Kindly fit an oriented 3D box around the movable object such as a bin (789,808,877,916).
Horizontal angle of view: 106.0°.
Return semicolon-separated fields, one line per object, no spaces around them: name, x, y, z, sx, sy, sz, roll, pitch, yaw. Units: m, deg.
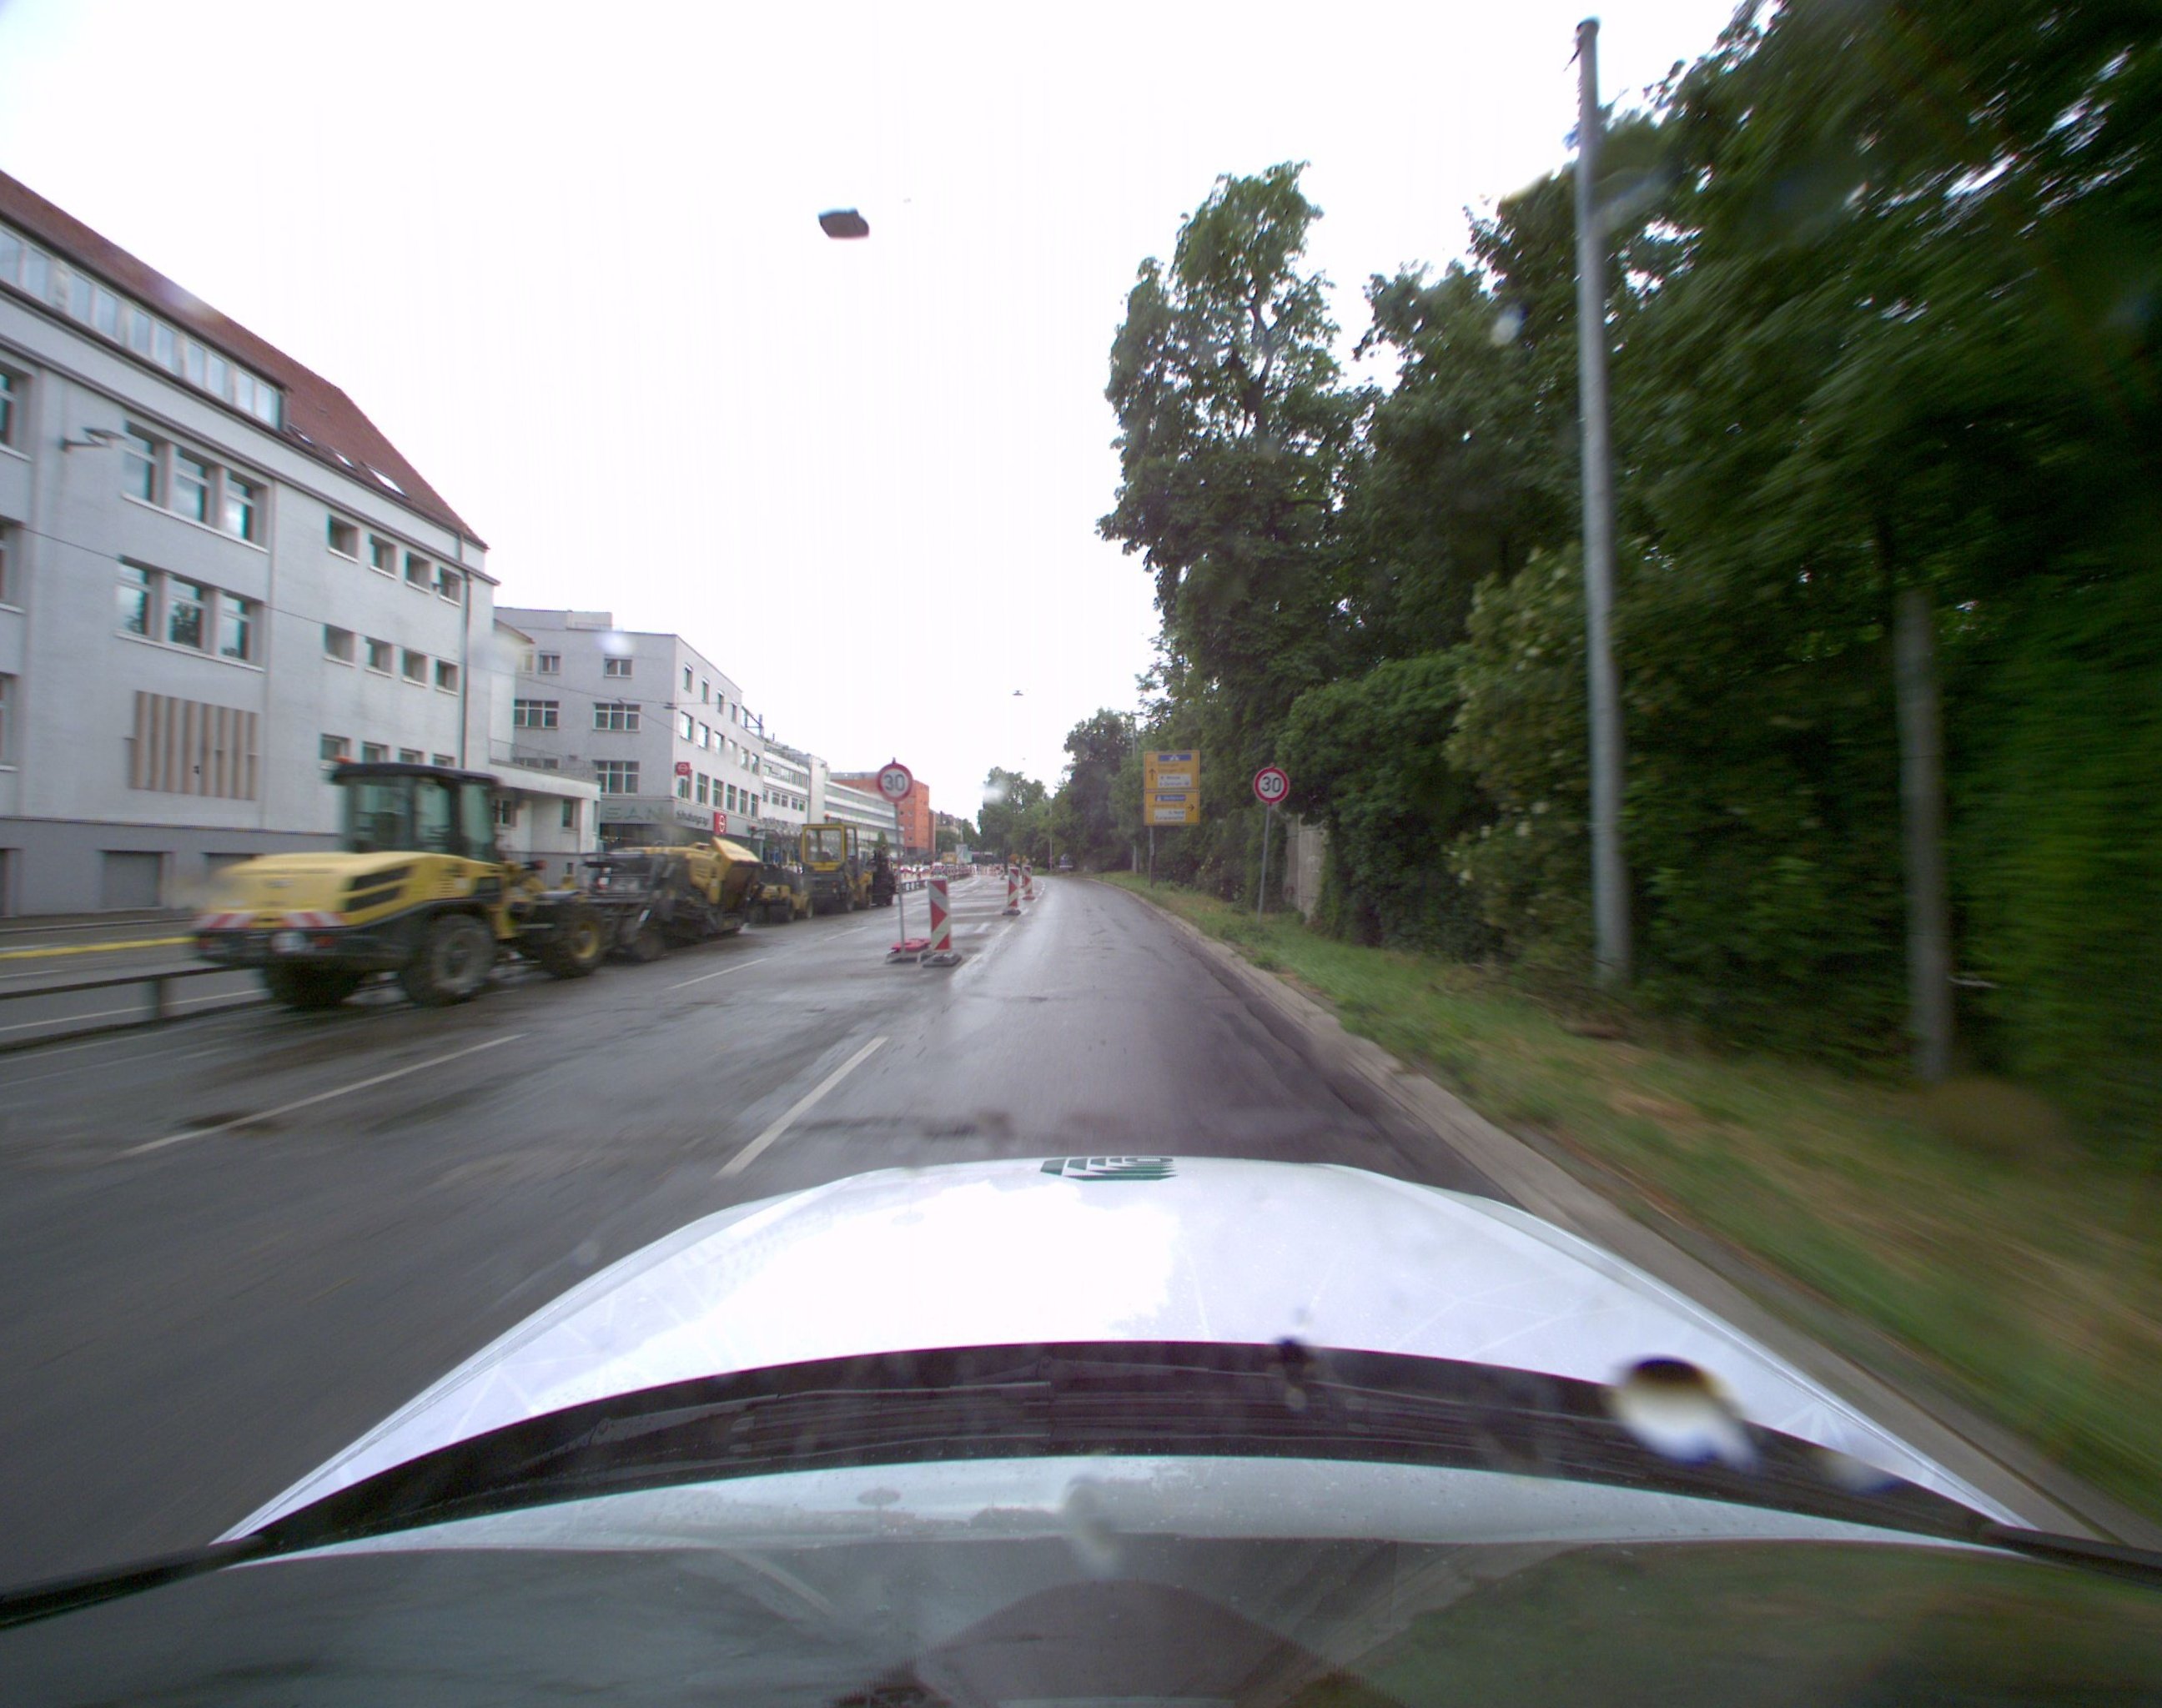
movable object such as a bin;-7.473;0.227;24.874;1.461;3.008;3.724;-2;0;0

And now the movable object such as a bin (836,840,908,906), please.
movable object such as a bin;-7.352;0.638;28.971;1.711;2.150;3.347;-2;0;-2

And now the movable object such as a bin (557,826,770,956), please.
movable object such as a bin;-7.699;0.609;15.671;1.357;2.090;5.032;0;0;2

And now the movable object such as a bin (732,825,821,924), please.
movable object such as a bin;-7.924;0.508;21.348;1.406;2.401;2.404;-2;0;-1

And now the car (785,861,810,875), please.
car;-36.952;1.802;106.093;1.813;1.655;3.956;3;-2;-36

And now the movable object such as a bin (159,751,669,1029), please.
movable object such as a bin;-7.625;0.346;10.336;1.895;2.609;5.385;0;0;2
